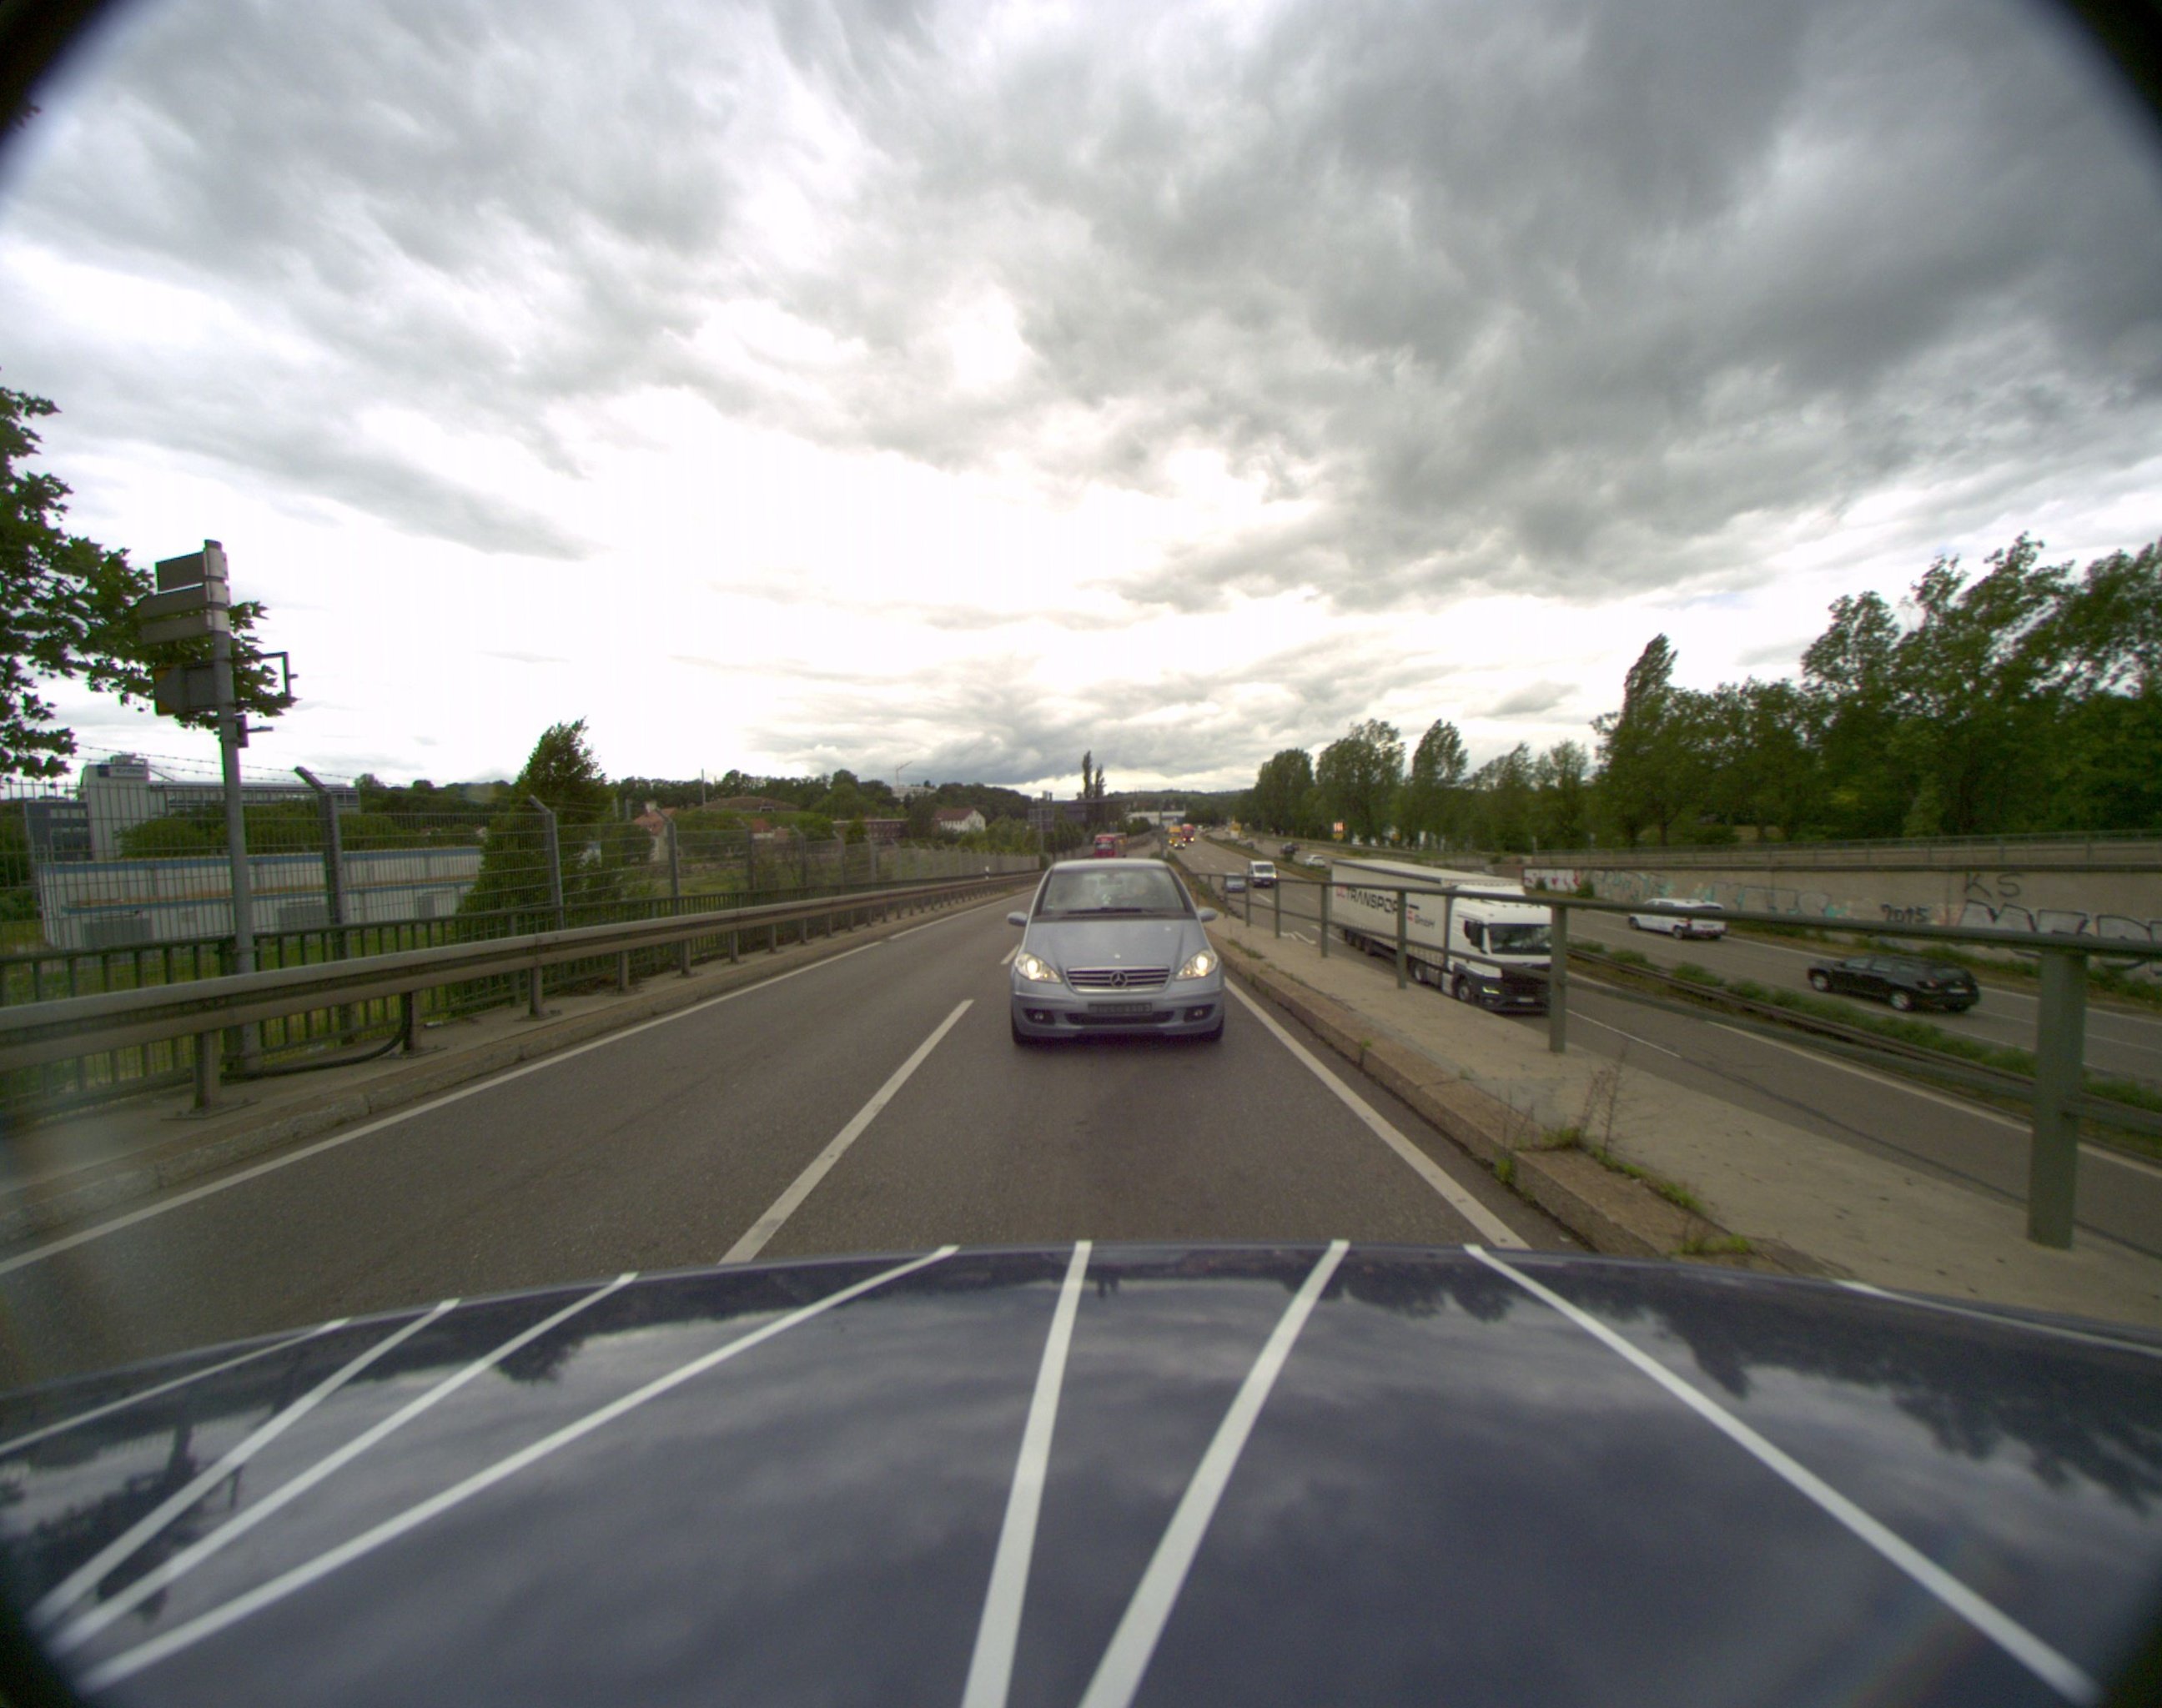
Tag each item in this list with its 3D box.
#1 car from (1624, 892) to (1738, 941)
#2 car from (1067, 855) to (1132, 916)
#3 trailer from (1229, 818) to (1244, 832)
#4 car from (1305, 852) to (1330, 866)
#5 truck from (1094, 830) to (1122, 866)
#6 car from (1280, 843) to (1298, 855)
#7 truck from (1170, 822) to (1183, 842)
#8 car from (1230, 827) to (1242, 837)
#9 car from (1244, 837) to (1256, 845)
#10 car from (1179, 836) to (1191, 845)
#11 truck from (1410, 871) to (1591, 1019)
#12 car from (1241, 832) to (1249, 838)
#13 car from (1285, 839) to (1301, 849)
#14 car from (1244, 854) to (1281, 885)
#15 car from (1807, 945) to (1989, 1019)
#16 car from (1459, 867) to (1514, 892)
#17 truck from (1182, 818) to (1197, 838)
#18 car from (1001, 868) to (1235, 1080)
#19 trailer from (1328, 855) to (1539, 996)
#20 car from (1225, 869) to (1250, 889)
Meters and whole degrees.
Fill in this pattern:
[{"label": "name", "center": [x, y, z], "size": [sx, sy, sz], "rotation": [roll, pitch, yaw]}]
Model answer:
[{"label": "car", "center": [30.730, 3.144, 39.156], "size": [1.952, 1.897, 4.907], "rotation": [-1, 3, 1]}, {"label": "car", "center": [0.577, 0.955, 24.208], "size": [1.830, 1.701, 4.001], "rotation": [-2, -1, 1]}, {"label": "trailer", "center": [49.847, -9.464, 243.946], "size": [3.247, 4.239, 13.678], "rotation": [0, 3, 5]}, {"label": "car", "center": [28.104, 0.572, 90.454], "size": [1.778, 1.485, 3.896], "rotation": [1, 3, 2]}, {"label": "truck", "center": [3.458, -0.818, 95.071], "size": [3.101, 3.990, 8.487], "rotation": [-1, 4, 5]}, {"label": "car", "center": [32.840, -0.848, 120.280], "size": [1.886, 1.709, 4.181], "rotation": [0, 3, 3]}, {"label": "truck", "center": [20.726, -4.947, 165.623], "size": [2.415, 4.100, 8.169], "rotation": [0, 3, 4]}, {"label": "car", "center": [40.576, -5.806, 199.260], "size": [2.172, 2.580, 6.099], "rotation": [-1, 3, 1]}, {"label": "car", "center": [32.122, -2.432, 144.358], "size": [1.717, 1.446, 3.650], "rotation": [-1, 3, 6]}, {"label": "car", "center": [19.701, -2.566, 143.926], "size": [1.810, 1.658, 3.999], "rotation": [-1, 3, 4]}, {"label": "truck", "center": [14.050, 2.850, 26.114], "size": [3.010, 4.087, 5.871], "rotation": [0, 3, 2]}, {"label": "car", "center": [45.512, -5.216, 210.880], "size": [1.662, 1.643, 3.772], "rotation": [0, 3, 4]}, {"label": "car", "center": [37.173, -1.789, 133.172], "size": [1.864, 1.643, 4.632], "rotation": [0, 3, 4]}, {"label": "car", "center": [16.321, 1.335, 68.607], "size": [2.104, 2.231, 6.498], "rotation": [0, 3, 3]}, {"label": "car", "center": [26.730, 4.133, 25.085], "size": [1.669, 1.612, 3.998], "rotation": [0, 3, 1]}, {"label": "car", "center": [32.400, 2.033, 60.900], "size": [1.998, 1.617, 4.577], "rotation": [0, 3, 1]}, {"label": "truck", "center": [26.875, -6.463, 188.817], "size": [2.754, 4.712, 9.916], "rotation": [1, 3, 4]}, {"label": "car", "center": [0.307, 0.943, 7.700], "size": [1.743, 1.534, 3.993], "rotation": [-1, 0, 1]}, {"label": "trailer", "center": [14.298, 2.480, 32.956], "size": [3.010, 4.087, 13.983], "rotation": [0, 3, 2]}, {"label": "car", "center": [13.100, 2.096, 63.667], "size": [1.512, 1.365, 3.536], "rotation": [0, 3, 3]}]
